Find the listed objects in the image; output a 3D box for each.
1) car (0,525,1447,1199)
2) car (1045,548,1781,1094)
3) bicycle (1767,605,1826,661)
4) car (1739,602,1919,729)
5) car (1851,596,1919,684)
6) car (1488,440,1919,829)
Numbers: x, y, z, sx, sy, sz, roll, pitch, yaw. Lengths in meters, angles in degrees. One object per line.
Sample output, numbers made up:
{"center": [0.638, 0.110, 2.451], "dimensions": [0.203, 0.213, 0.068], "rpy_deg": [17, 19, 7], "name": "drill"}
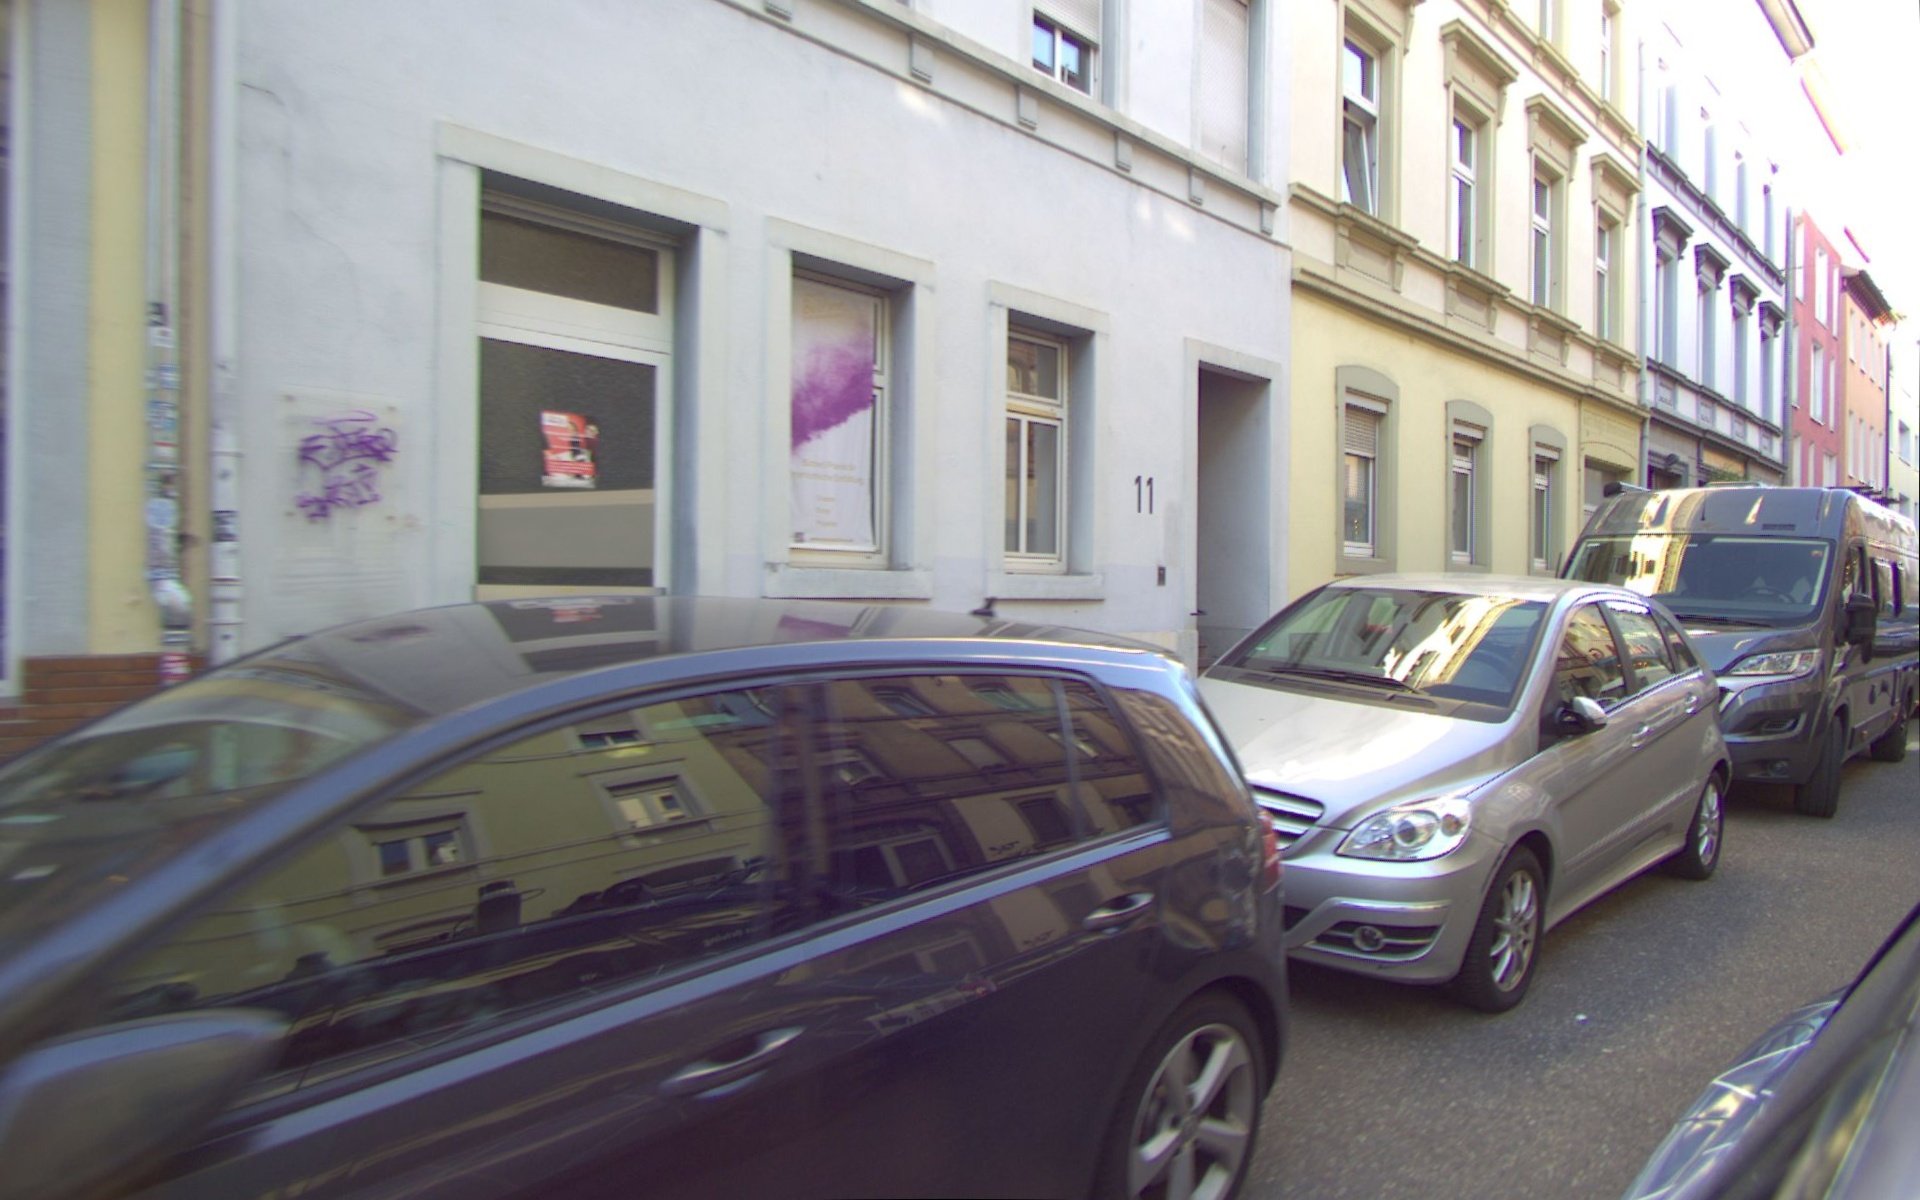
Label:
{"center": [-0.801, 0.666, 2.093], "dimensions": [4.169, 1.504, 1.749], "rpy_deg": [0, 1, -41], "name": "car"}
{"center": [2.551, 0.633, 5.090], "dimensions": [4.298, 1.627, 1.697], "rpy_deg": [0, 2, -41], "name": "car"}
{"center": [18.371, 0.710, 22.217], "dimensions": [1.869, 1.110, 0.711], "rpy_deg": [0, 3, -43], "name": "bicycle"}
{"center": [12.157, 0.763, 13.725], "dimensions": [4.098, 1.462, 1.750], "rpy_deg": [0, 0, -41], "name": "car"}
{"center": [18.325, 0.723, 19.011], "dimensions": [4.468, 1.472, 1.790], "rpy_deg": [0, 4, -42], "name": "car"}
{"center": [7.269, 0.179, 9.255], "dimensions": [6.199, 2.455, 2.179], "rpy_deg": [0, 2, -41], "name": "car"}
